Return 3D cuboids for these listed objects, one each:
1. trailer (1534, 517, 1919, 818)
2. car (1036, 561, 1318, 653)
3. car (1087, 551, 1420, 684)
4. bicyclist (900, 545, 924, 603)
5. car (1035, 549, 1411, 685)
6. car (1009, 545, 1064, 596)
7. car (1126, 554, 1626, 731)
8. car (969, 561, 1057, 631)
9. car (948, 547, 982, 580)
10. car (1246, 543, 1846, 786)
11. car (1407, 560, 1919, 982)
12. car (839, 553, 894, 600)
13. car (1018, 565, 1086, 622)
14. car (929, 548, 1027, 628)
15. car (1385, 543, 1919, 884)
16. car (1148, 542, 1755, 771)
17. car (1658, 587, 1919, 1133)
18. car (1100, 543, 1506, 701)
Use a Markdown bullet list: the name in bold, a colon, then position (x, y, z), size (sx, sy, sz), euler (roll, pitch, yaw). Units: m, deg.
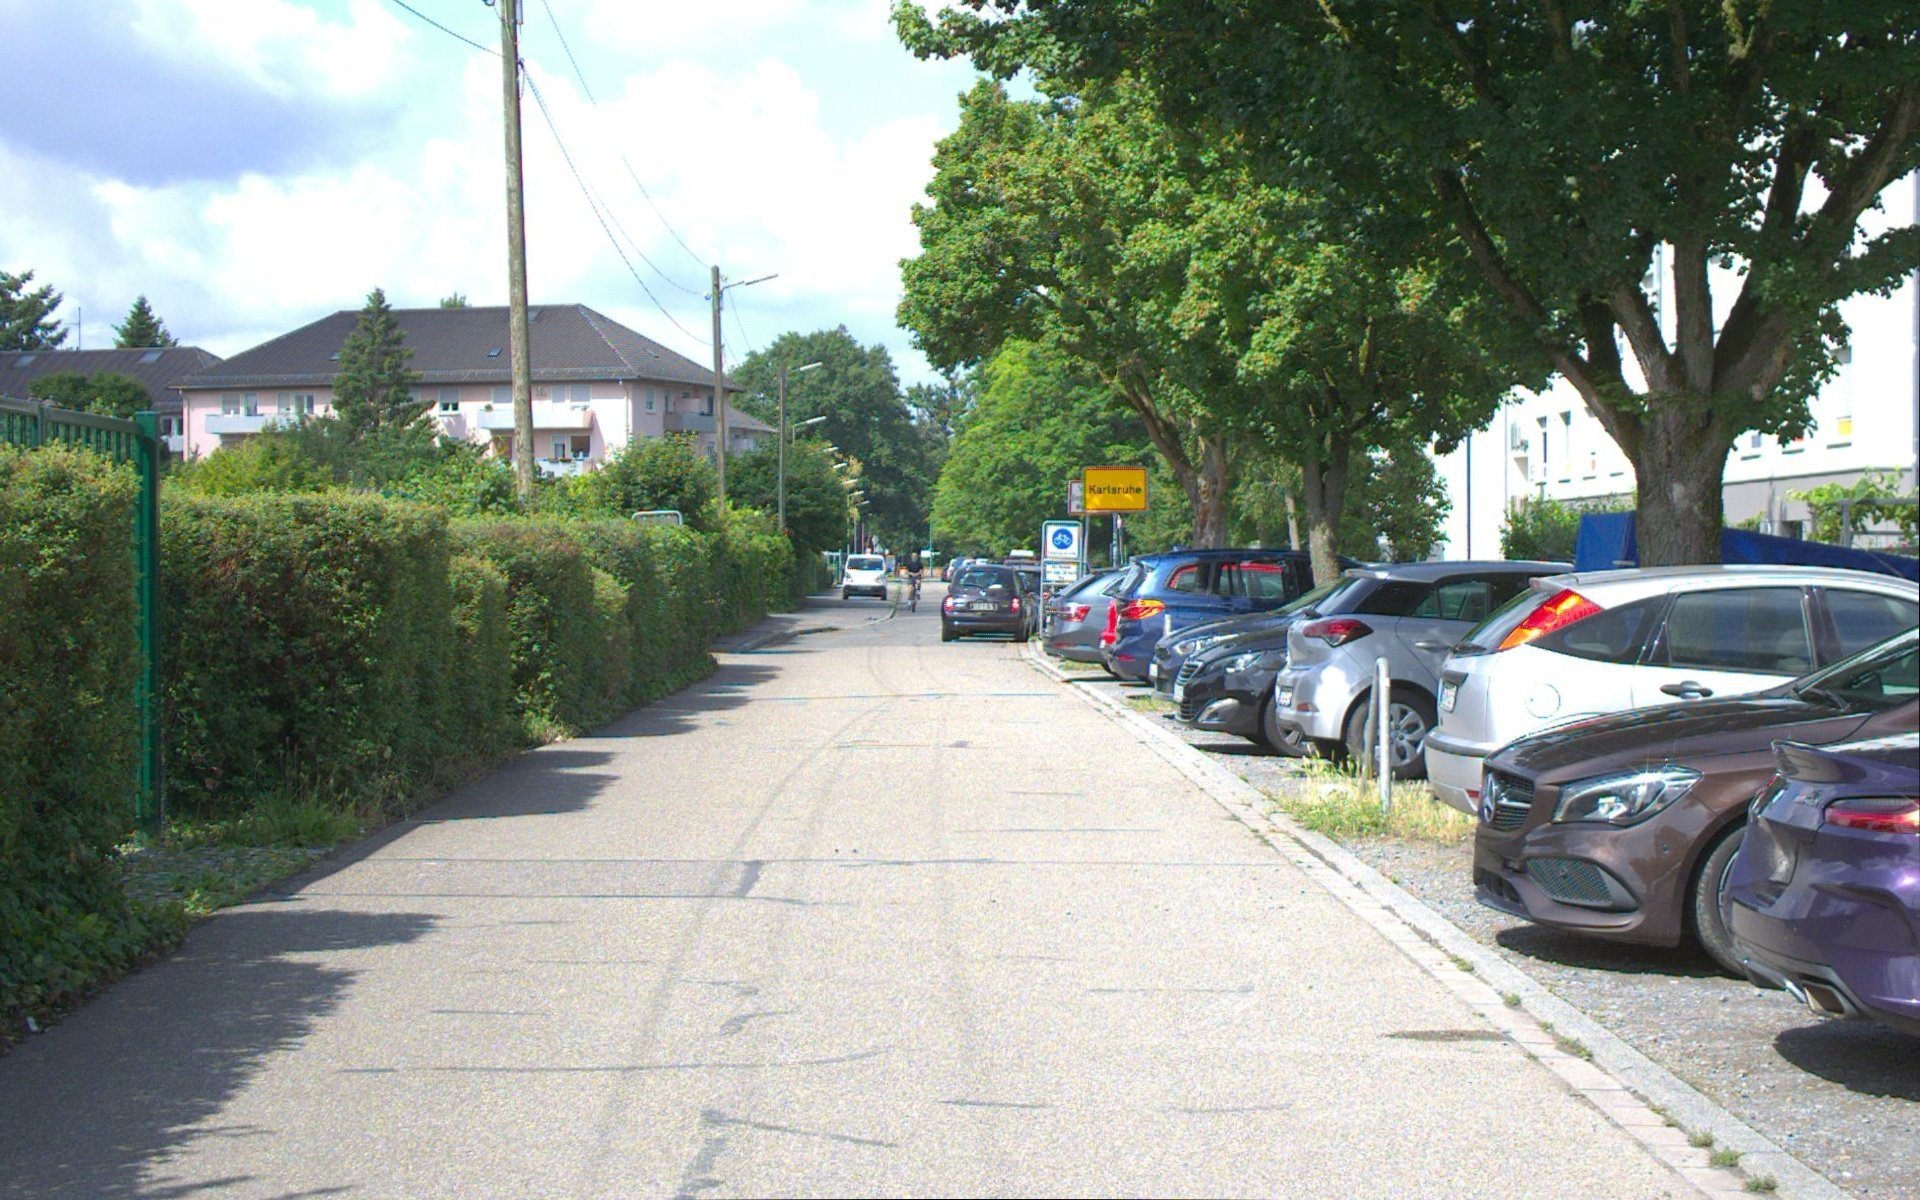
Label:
- **trailer**: position (4.905, 0.385, 20.891), size (2.449, 1.714, 1.518), euler (1, 1, -4)
- **car**: position (3.418, 0.103, 54.330), size (4.359, 1.387, 1.718), euler (-1, 0, 4)
- **car**: position (3.475, 0.202, 41.185), size (3.809, 1.527, 1.762), euler (0, 0, 0)
- **bicyclist**: position (-1.544, -0.839, 110.648), size (0.659, 1.846, 1.043), euler (-1, 0, 2)
- **car**: position (3.290, 0.205, 43.593), size (4.548, 1.573, 1.809), euler (1, 0, -2)
- **car**: position (3.031, -1.143, 135.040), size (2.058, 1.919, 4.540), euler (1, 0, 2)
- **car**: position (3.797, 0.376, 31.924), size (4.335, 1.487, 1.976), euler (1, 0, -1)
- **car**: position (1.250, -0.100, 79.761), size (1.664, 1.547, 3.636), euler (1, 0, 6)
- **car**: position (0.326, -2.272, 216.251), size (1.993, 2.007, 4.000), euler (1, 0, -1)
- **car**: position (3.980, 0.424, 23.772), size (3.723, 1.535, 1.850), euler (1, 0, -4)
- **car**: position (3.904, 0.627, 13.084), size (4.065, 1.450, 1.870), euler (1, 0, -3)
- **car**: position (-3.714, -0.935, 136.842), size (1.903, 1.808, 4.000), euler (1, 0, 2)
- **car**: position (2.406, -0.189, 90.566), size (1.663, 1.430, 3.542), euler (1, 0, 0)
- **car**: position (0.382, -0.236, 68.192), size (1.663, 1.501, 3.999), euler (1, 0, 4)
- **car**: position (4.206, 0.535, 16.692), size (4.065, 1.506, 1.957), euler (1, 0, 2)
- **car**: position (3.685, 0.409, 26.354), size (4.302, 1.588, 2.000), euler (1, 0, -1)
- **car**: position (4.160, 0.721, 9.919), size (3.910, 1.419, 1.957), euler (1, 0, 2)
- **car**: position (3.635, 0.222, 37.000), size (4.154, 1.632, 1.879), euler (0, 0, 0)
